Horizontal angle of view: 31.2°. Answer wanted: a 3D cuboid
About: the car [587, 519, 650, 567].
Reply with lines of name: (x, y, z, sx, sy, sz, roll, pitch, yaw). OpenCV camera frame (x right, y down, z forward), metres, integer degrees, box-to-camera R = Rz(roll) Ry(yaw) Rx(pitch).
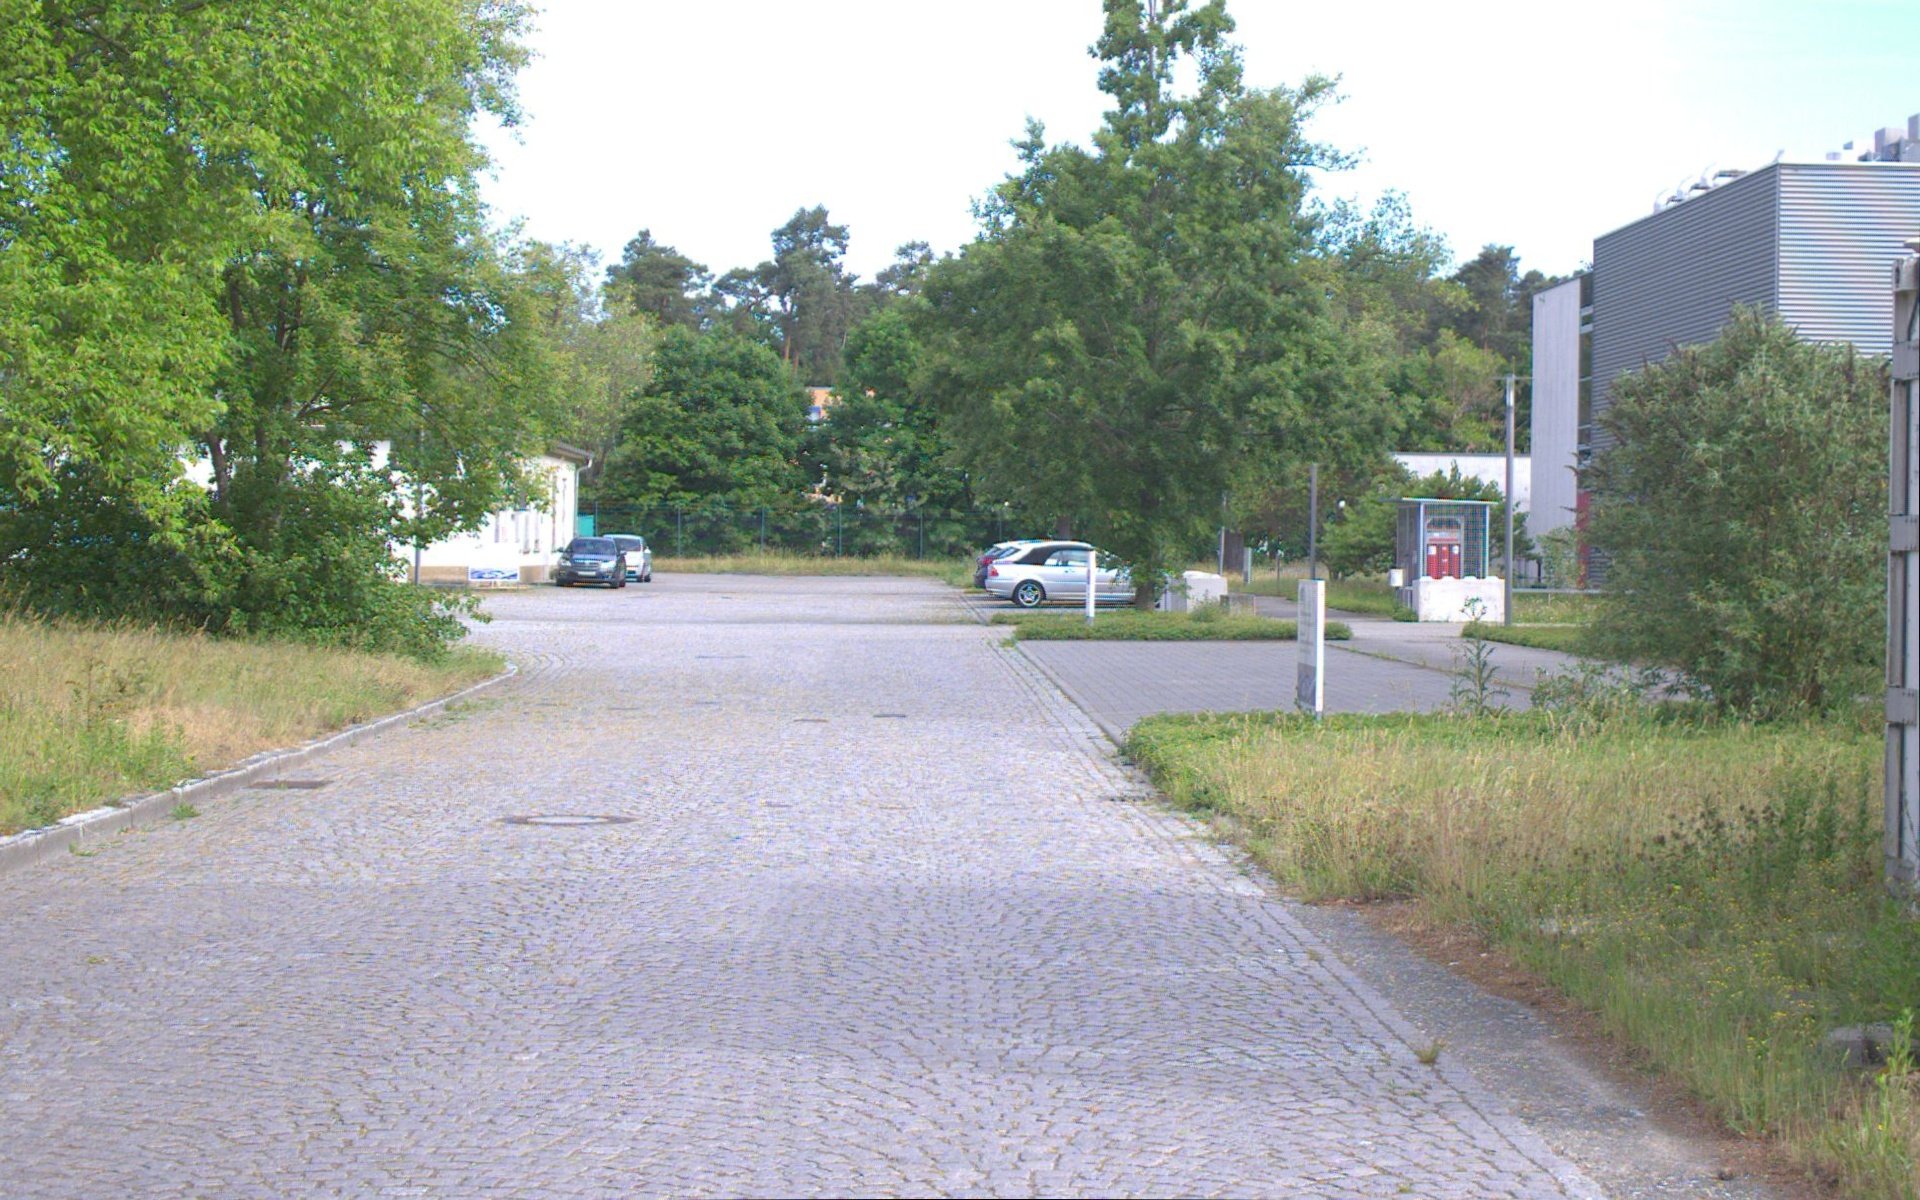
car: (-10.788, -1.827, 108.861, 1.647, 1.453, 3.998, 1, 1, -1)

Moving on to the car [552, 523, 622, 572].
car: (-10.670, -1.519, 98.522, 1.647, 1.364, 3.998, 1, 1, -1)

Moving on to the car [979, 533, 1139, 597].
car: (2.206, -0.793, 77.138, 3.522, 1.357, 1.622, -1, 1, 0)

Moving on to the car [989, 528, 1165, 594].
car: (2.690, -0.909, 79.837, 3.984, 1.443, 1.653, -1, 1, 0)

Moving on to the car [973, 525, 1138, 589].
car: (2.340, -1.066, 84.964, 3.984, 1.470, 1.653, -1, 1, 0)
